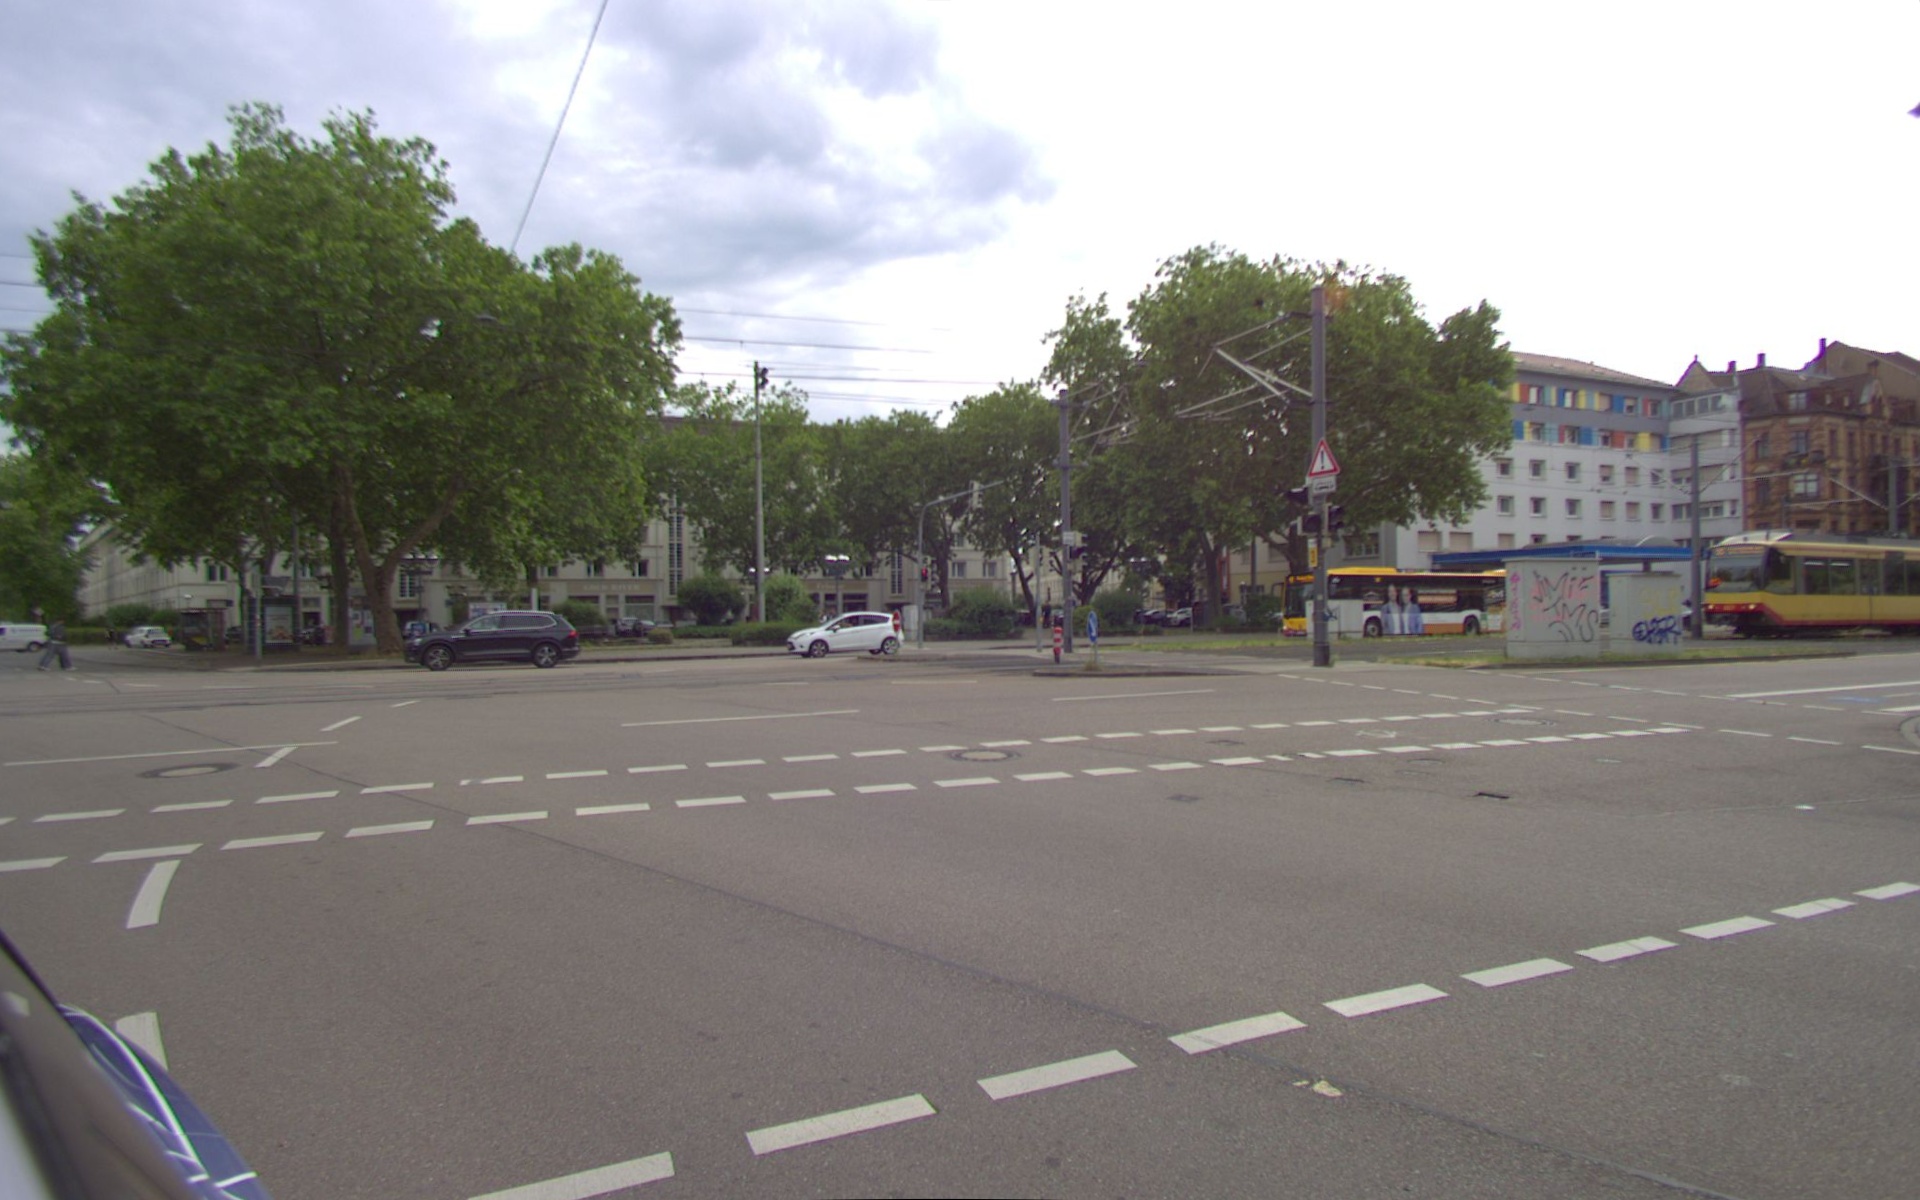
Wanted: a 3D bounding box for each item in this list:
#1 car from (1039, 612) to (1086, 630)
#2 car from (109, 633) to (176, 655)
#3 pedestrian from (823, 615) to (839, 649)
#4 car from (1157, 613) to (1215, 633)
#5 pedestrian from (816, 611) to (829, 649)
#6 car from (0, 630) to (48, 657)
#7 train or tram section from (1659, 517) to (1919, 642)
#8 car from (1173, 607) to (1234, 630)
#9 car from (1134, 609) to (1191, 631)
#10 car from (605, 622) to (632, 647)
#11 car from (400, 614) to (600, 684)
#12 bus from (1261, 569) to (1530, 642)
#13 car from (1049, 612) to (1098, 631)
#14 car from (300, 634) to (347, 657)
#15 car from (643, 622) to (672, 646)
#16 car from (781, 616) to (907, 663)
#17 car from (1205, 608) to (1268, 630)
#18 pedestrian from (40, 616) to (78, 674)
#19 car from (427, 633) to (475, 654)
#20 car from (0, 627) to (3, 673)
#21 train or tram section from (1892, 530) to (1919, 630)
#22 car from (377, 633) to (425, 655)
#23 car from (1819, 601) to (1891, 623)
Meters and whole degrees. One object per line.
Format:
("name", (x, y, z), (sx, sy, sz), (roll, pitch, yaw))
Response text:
("car", (9.226, 1.864, 91.121), (3.931, 1.586, 1.698), (0, 0, -26))
("car", (-57.985, 3.101, 71.822), (3.964, 1.497, 1.793), (-1, -1, 16))
("pedestrian", (-5.072, 1.252, 39.837), (0.462, 1.336, 0.458), (0, -1, -30))
("car", (16.566, 1.655, 74.144), (3.823, 1.369, 1.714), (0, 0, -23))
("pedestrian", (-5.459, 1.199, 40.255), (0.367, 1.490, 0.363), (0, -1, -30))
("car", (-60.832, 2.752, 63.690), (1.991, 1.676, 4.785), (-2, -1, 29))
("train or tram section", (32.926, -0.737, 37.922), (14.777, 4.124, 3.667), (0, 0, -23))
("car", (17.352, 1.306, 72.083), (3.930, 1.586, 1.698), (-1, -1, -23))
("car", (15.332, 1.464, 76.638), (3.930, 1.586, 1.698), (0, 0, -23))
("car", (-28.801, 2.914, 85.254), (1.965, 2.029, 4.013), (0, -2, -22))
("car", (-13.062, 1.350, 28.976), (5.060, 1.796, 1.714), (0, 0, -23))
("bus", (19.153, 0.177, 44.224), (12.165, 2.878, 3.303), (0, 0, -23))
("car", (9.908, 1.832, 88.653), (3.930, 1.586, 1.698), (0, 0, -23))
("car", (-42.434, 3.021, 67.436), (1.969, 1.400, 4.840), (0, -2, -40))
("car", (-25.814, 2.886, 86.220), (1.965, 2.029, 4.013), (0, -2, -22))
("car", (-3.850, 1.289, 33.673), (3.823, 1.408, 1.714), (0, 0, -23))
("car", (18.688, 1.263, 68.372), (3.823, 1.369, 1.714), (0, 0, -23))
("pedestrian", (-29.778, 1.478, 33.440), (0.682, 1.900, 0.685), (0, 0, 16))
("car", (-35.611, 3.006, 70.748), (1.969, 1.400, 4.840), (0, -2, -40))
("car", (-36.322, 1.803, 36.437), (1.880, 1.732, 3.750), (0, -3, -30))
("train or tram section", (46.600, -0.878, 43.598), (14.777, 4.124, 3.593), (0, 0, -23))
("car", (-37.910, 2.980, 68.608), (1.969, 1.400, 4.840), (0, -2, -40))
("car", (52.792, 0.695, 59.712), (3.823, 1.230, 1.714), (0, 0, -23))
